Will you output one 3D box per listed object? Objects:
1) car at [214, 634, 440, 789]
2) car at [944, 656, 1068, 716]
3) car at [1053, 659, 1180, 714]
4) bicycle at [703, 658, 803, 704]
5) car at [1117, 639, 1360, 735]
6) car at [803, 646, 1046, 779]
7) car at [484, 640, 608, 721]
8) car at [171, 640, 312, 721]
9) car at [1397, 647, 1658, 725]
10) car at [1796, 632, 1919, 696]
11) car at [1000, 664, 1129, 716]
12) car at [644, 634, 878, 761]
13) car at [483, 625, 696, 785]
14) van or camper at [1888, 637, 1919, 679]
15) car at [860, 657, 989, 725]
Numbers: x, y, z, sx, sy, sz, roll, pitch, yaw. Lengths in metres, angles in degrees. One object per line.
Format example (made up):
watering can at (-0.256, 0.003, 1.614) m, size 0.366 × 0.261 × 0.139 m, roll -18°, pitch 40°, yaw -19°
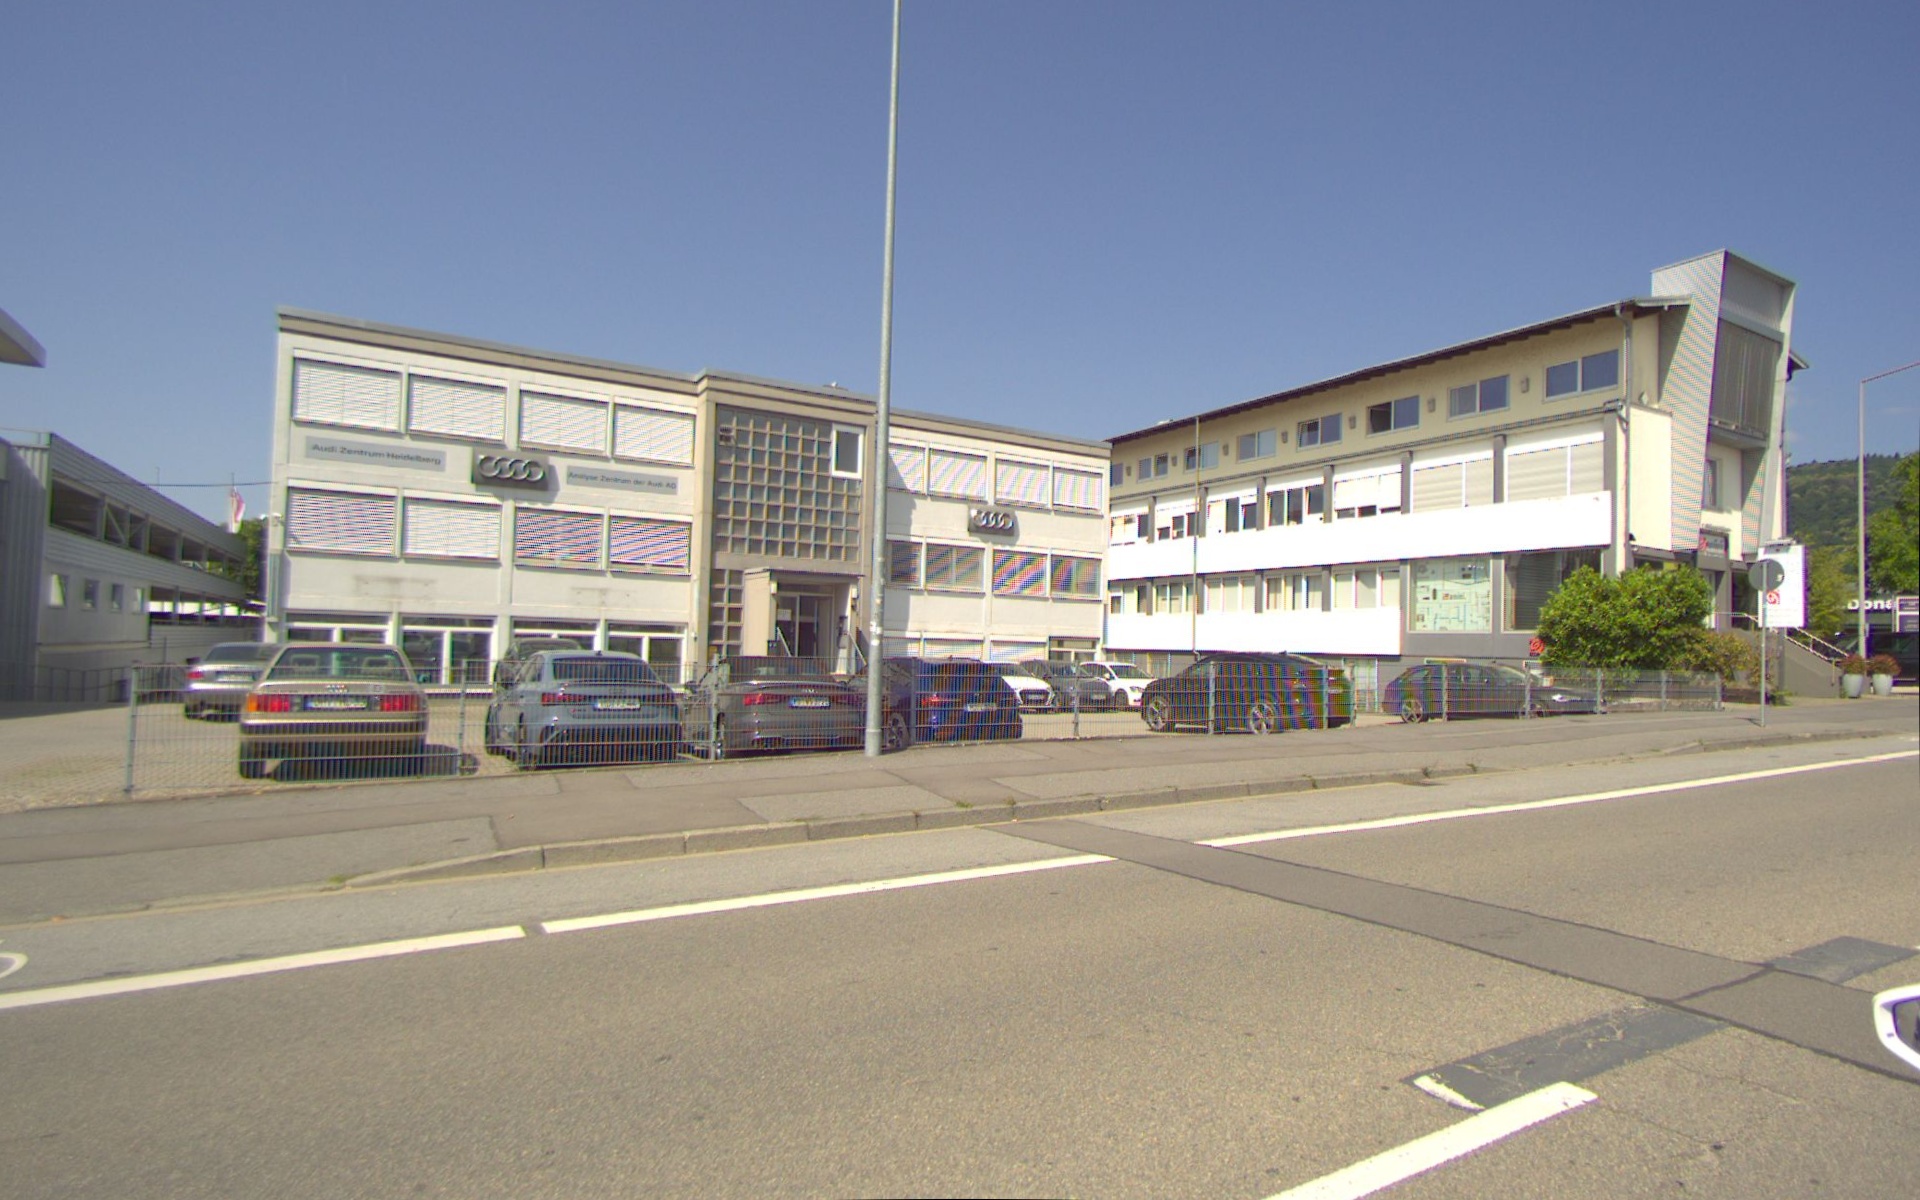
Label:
car at (-7.463, 1.154, 12.011) m, size 1.879 × 1.476 × 4.501 m, roll 2°, pitch -3°, yaw -31°
car at (1.221, 2.414, 28.568) m, size 1.792 × 1.421 × 3.974 m, roll 4°, pitch -3°, yaw -26°
car at (4.845, 2.668, 31.608) m, size 1.838 × 1.480 × 3.967 m, roll 2°, pitch -2°, yaw -31°
bicycle at (-5.720, 2.210, 27.849) m, size 2.548 × 1.194 × 0.920 m, roll 2°, pitch -2°, yaw -32°
car at (5.196, 1.568, 19.240) m, size 1.974 × 1.579 × 4.271 m, roll 2°, pitch -3°, yaw -33°
car at (-0.673, 1.600, 15.234) m, size 1.840 × 1.509 × 3.963 m, roll 5°, pitch -2°, yaw -33°
car at (-9.461, 1.746, 22.766) m, size 1.839 × 1.573 × 4.330 m, roll 2°, pitch -2°, yaw -32°
car at (-14.119, 1.519, 19.950) m, size 1.837 × 1.377 × 3.968 m, roll 2°, pitch -2°, yaw -30°
car at (12.492, 1.831, 22.462) m, size 2.025 × 1.500 × 4.716 m, roll 2°, pitch -3°, yaw -31°
car at (29.668, 2.020, 31.827) m, size 2.072 × 1.890 × 4.537 m, roll 2°, pitch -2°, yaw -34°
car at (3.060, 2.641, 30.183) m, size 1.838 × 1.281 × 3.967 m, roll 2°, pitch -2°, yaw -31°
car at (-2.859, 1.443, 13.800) m, size 1.839 × 1.460 × 3.969 m, roll 5°, pitch -10°, yaw -32°
car at (-4.865, 1.228, 12.833) m, size 1.803 × 1.463 × 3.870 m, roll 5°, pitch 0°, yaw -31°
van or camper at (41.481, 2.501, 42.166) m, size 1.613 × 1.687 × 3.378 m, roll 2°, pitch 0°, yaw -28°
car at (-1.046, 2.420, 27.541) m, size 1.838 × 1.566 × 3.967 m, roll 2°, pitch -2°, yaw -31°
